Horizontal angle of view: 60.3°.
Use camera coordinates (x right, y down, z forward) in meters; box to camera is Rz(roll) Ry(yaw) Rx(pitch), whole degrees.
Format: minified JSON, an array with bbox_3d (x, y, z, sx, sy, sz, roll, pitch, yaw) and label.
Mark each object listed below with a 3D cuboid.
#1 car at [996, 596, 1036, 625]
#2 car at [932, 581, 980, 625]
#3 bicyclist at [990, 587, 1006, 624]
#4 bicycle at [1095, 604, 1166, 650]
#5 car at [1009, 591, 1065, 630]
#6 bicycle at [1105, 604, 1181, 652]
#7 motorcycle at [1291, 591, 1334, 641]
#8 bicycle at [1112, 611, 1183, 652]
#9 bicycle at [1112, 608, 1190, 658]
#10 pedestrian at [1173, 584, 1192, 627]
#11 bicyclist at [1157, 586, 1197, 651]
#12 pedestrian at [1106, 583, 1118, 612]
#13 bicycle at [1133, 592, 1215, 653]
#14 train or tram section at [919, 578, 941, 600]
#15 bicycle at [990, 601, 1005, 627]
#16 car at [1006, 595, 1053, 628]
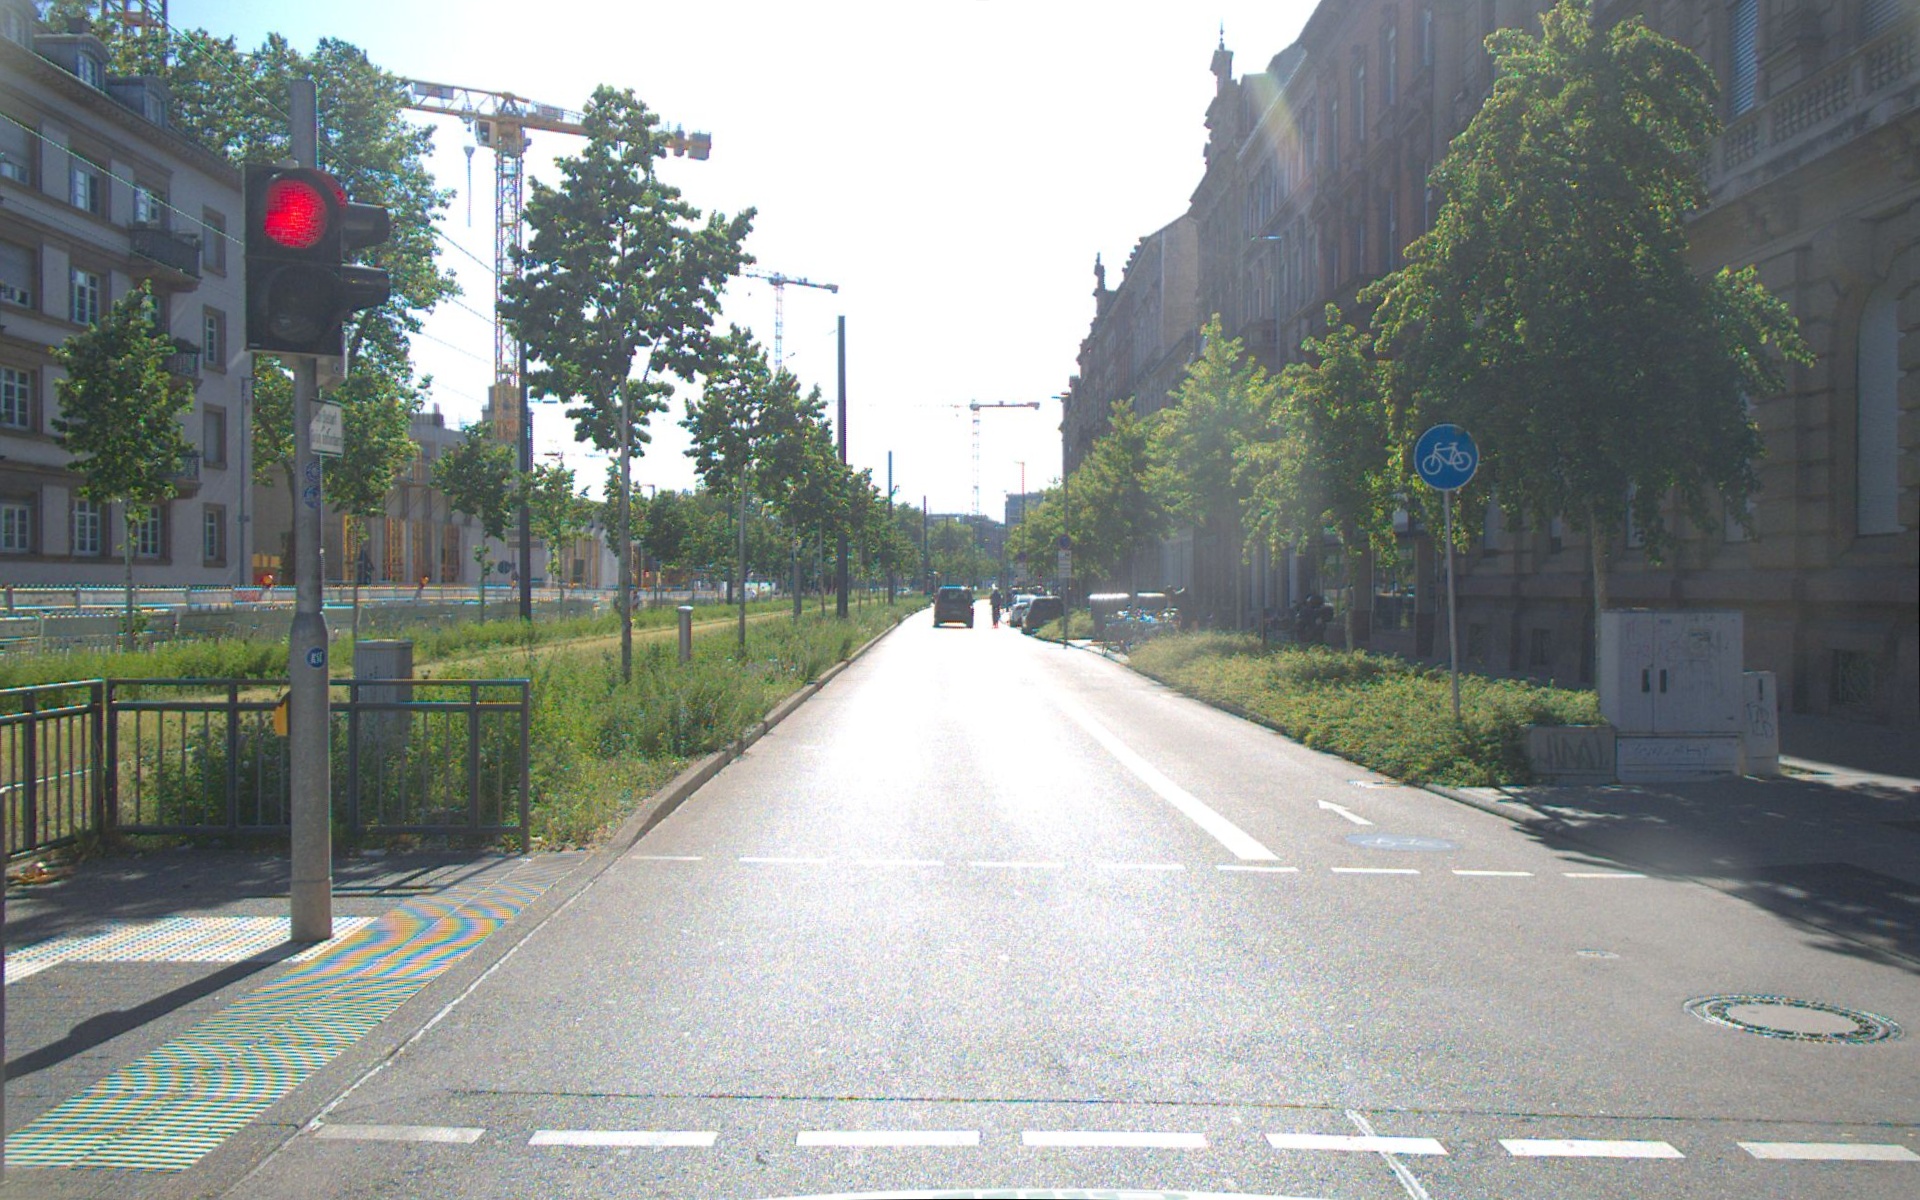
[{"bbox_3d":[3.096,0.561,92.339,1.987,1.525,4.529,0,0,-1],"label":"car"},{"bbox_3d":[-0.209,0.139,76.351,2.155,1.960,4.653,0,0,-1],"label":"car"},{"bbox_3d":[1.769,0.249,77.333,0.670,1.702,0.922,2,0,-2],"label":"bicyclist"},{"bbox_3d":[4.519,0.714,43.981,1.756,1.048,0.527,-4,0,-1],"label":"bicycle"},{"bbox_3d":[3.105,0.395,67.440,1.987,1.525,4.653,0,0,-1],"label":"car"},{"bbox_3d":[4.550,0.683,41.095,1.756,1.048,0.527,-4,0,-1],"label":"bicycle"},{"bbox_3d":[9.434,0.407,44.293,0.686,1.289,1.981,0,0,-1],"label":"motorcycle"},{"bbox_3d":[4.820,0.812,42.641,1.756,1.048,0.527,0,0,-1],"label":"bicycle"},{"bbox_3d":[4.583,0.791,39.722,1.756,1.048,0.527,-4,0,-1],"label":"bicycle"},{"bbox_3d":[8.505,0.200,63.214,0.601,1.640,0.669,0,0,-1],"label":"pedestrian"},{"bbox_3d":[5.388,0.452,41.154,0.782,1.556,0.662,-4,0,-2],"label":"bicyclist"},{"bbox_3d":[8.527,-0.142,92.922,0.601,1.640,0.669,0,0,-1],"label":"pedestrian"},{"bbox_3d":[5.318,0.554,41.104,1.856,1.353,0.617,-4,0,-2],"label":"bicycle"},{"bbox_3d":[-4.043,-1.478,224.562,2.699,2.790,9.864,1,0,1],"label":"train or tram section"},{"bbox_3d":[1.757,0.649,77.081,0.589,1.201,1.869,2,0,-1],"label":"bicycle"},{"bbox_3d":[3.342,0.516,79.815,1.987,1.525,4.529,0,0,-1],"label":"car"}]
